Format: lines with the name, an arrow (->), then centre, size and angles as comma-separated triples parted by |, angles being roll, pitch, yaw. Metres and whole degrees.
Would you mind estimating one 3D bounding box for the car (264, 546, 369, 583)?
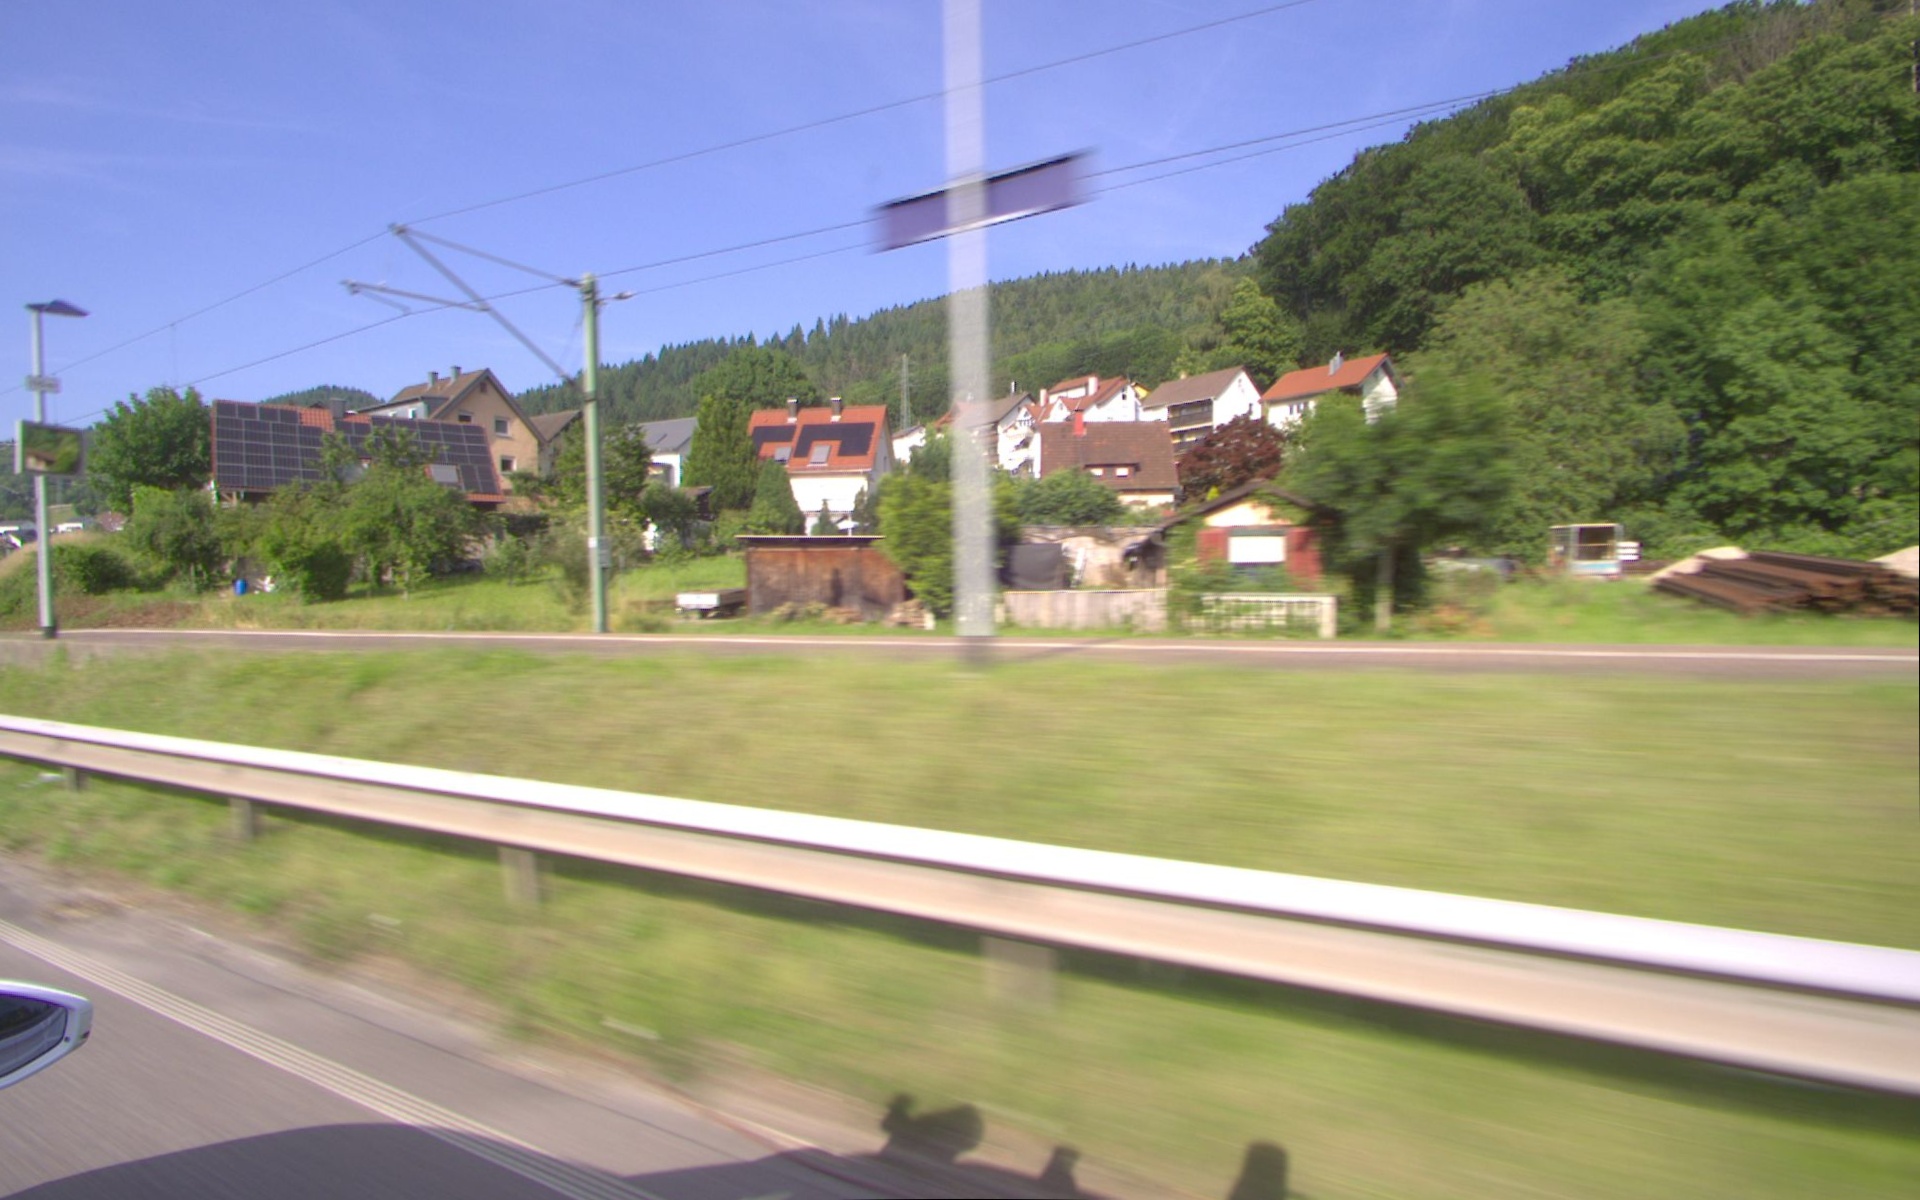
car -> -31.137, -1.719, 48.534 | 3.958, 1.707, 1.981 | -2, 2, -43
